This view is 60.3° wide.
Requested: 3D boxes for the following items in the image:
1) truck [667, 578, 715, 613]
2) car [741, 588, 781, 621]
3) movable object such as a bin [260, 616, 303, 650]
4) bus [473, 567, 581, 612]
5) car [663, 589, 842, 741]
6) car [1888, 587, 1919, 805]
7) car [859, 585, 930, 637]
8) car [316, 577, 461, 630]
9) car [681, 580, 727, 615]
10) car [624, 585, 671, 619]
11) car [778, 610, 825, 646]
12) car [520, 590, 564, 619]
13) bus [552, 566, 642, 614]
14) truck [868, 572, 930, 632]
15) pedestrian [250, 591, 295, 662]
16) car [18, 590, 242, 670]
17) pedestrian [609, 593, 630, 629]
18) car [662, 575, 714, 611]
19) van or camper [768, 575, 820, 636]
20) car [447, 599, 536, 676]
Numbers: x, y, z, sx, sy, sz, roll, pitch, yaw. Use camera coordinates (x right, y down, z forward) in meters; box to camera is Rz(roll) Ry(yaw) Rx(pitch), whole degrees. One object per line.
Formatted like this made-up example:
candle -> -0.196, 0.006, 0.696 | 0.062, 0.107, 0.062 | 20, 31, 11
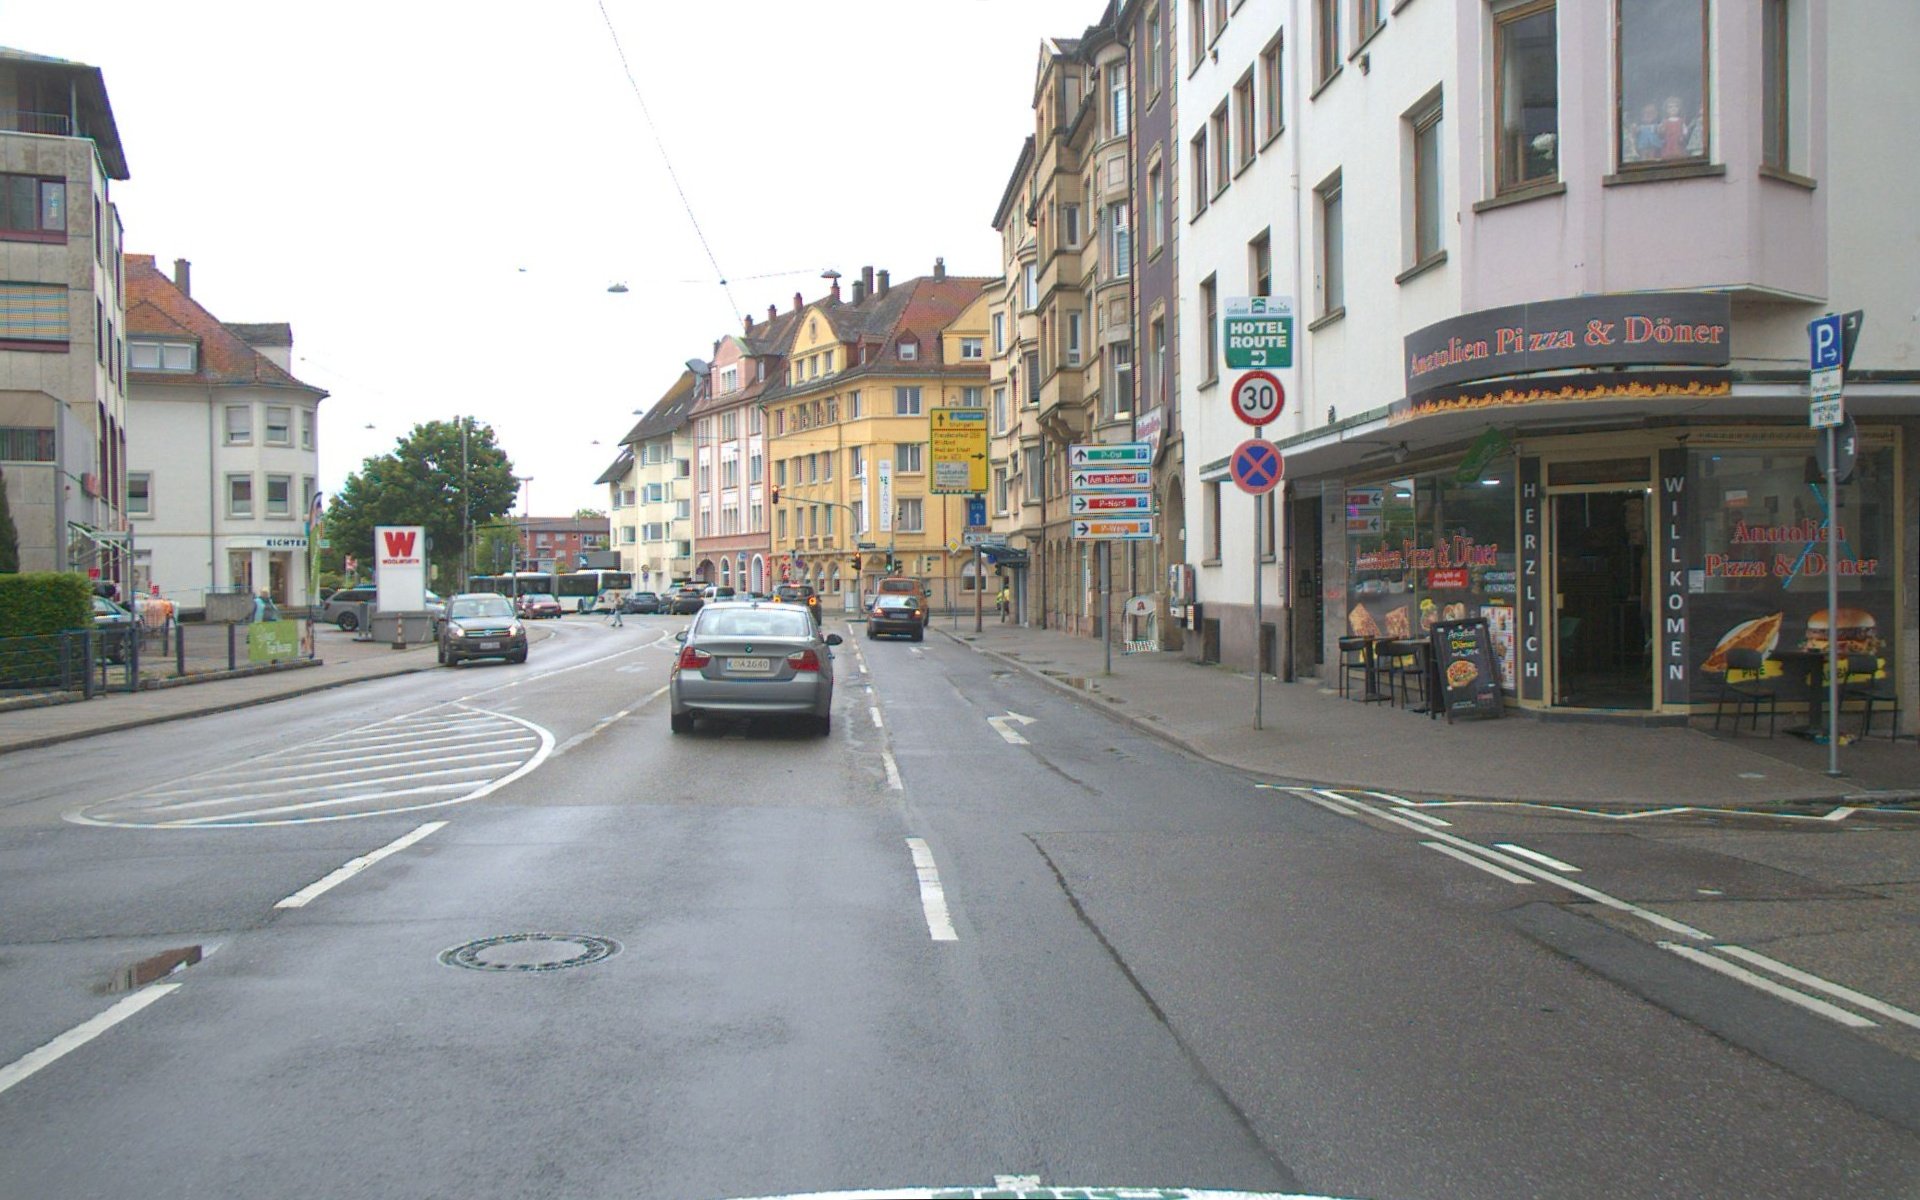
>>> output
truck -> -18.855, -0.321, 115.783 | 2.004, 2.431, 4.195 | 1, 0, -29
car -> -11.372, 0.273, 94.428 | 1.958, 1.847, 3.988 | -1, 0, -12
movable object such as a bin -> -16.767, 0.815, 40.853 | 0.740, 0.802, 0.729 | 0, 0, 41
bus -> -31.458, -0.718, 119.977 | 8.698, 3.159, 2.906 | 0, 1, 38
car -> -2.308, 0.651, 18.975 | 1.764, 1.489, 4.366 | 2, 0, -5
car -> 9.279, 0.698, 12.199 | 4.033, 1.635, 1.801 | 0, -1, -11
car -> -2.114, 0.362, 52.278 | 1.766, 1.590, 3.991 | 0, -1, -10
car -> -19.503, 0.122, 56.611 | 4.364, 1.553, 1.882 | 3, 0, -10
car -> -17.048, -0.203, 110.032 | 1.743, 2.218, 3.960 | 3, -1, -30
car -> -19.678, 0.131, 103.966 | 1.969, 2.049, 3.967 | -1, 0, -26
car -> -6.636, 1.145, 68.854 | 1.769, 1.430, 4.676 | 0, -1, -7
car -> -25.188, 0.247, 99.587 | 1.822, 1.713, 3.967 | 0, 0, -26
bus -> -25.138, -0.679, 114.080 | 2.884, 3.159, 9.032 | -1, 1, -34
truck -> -2.398, 0.070, 66.014 | 2.178, 2.289, 5.063 | 0, 0, 1
pedestrian -> -16.720, 0.636, 40.203 | 0.740, 1.715, 0.744 | -1, 0, 41
car -> -16.489, 0.552, 33.166 | 1.952, 1.464, 4.654 | -1, 0, 3
pedestrian -> -14.662, 0.480, 71.155 | 0.751, 1.556, 0.504 | 2, -1, -25
car -> -15.898, -0.418, 96.559 | 1.969, 2.049, 3.968 | -1, 0, -25
van or camper -> -6.262, 0.183, 62.074 | 1.819, 2.184, 4.136 | 0, 0, -7
car -> -11.072, 0.824, 38.992 | 1.917, 1.688, 4.037 | -1, 0, -17
